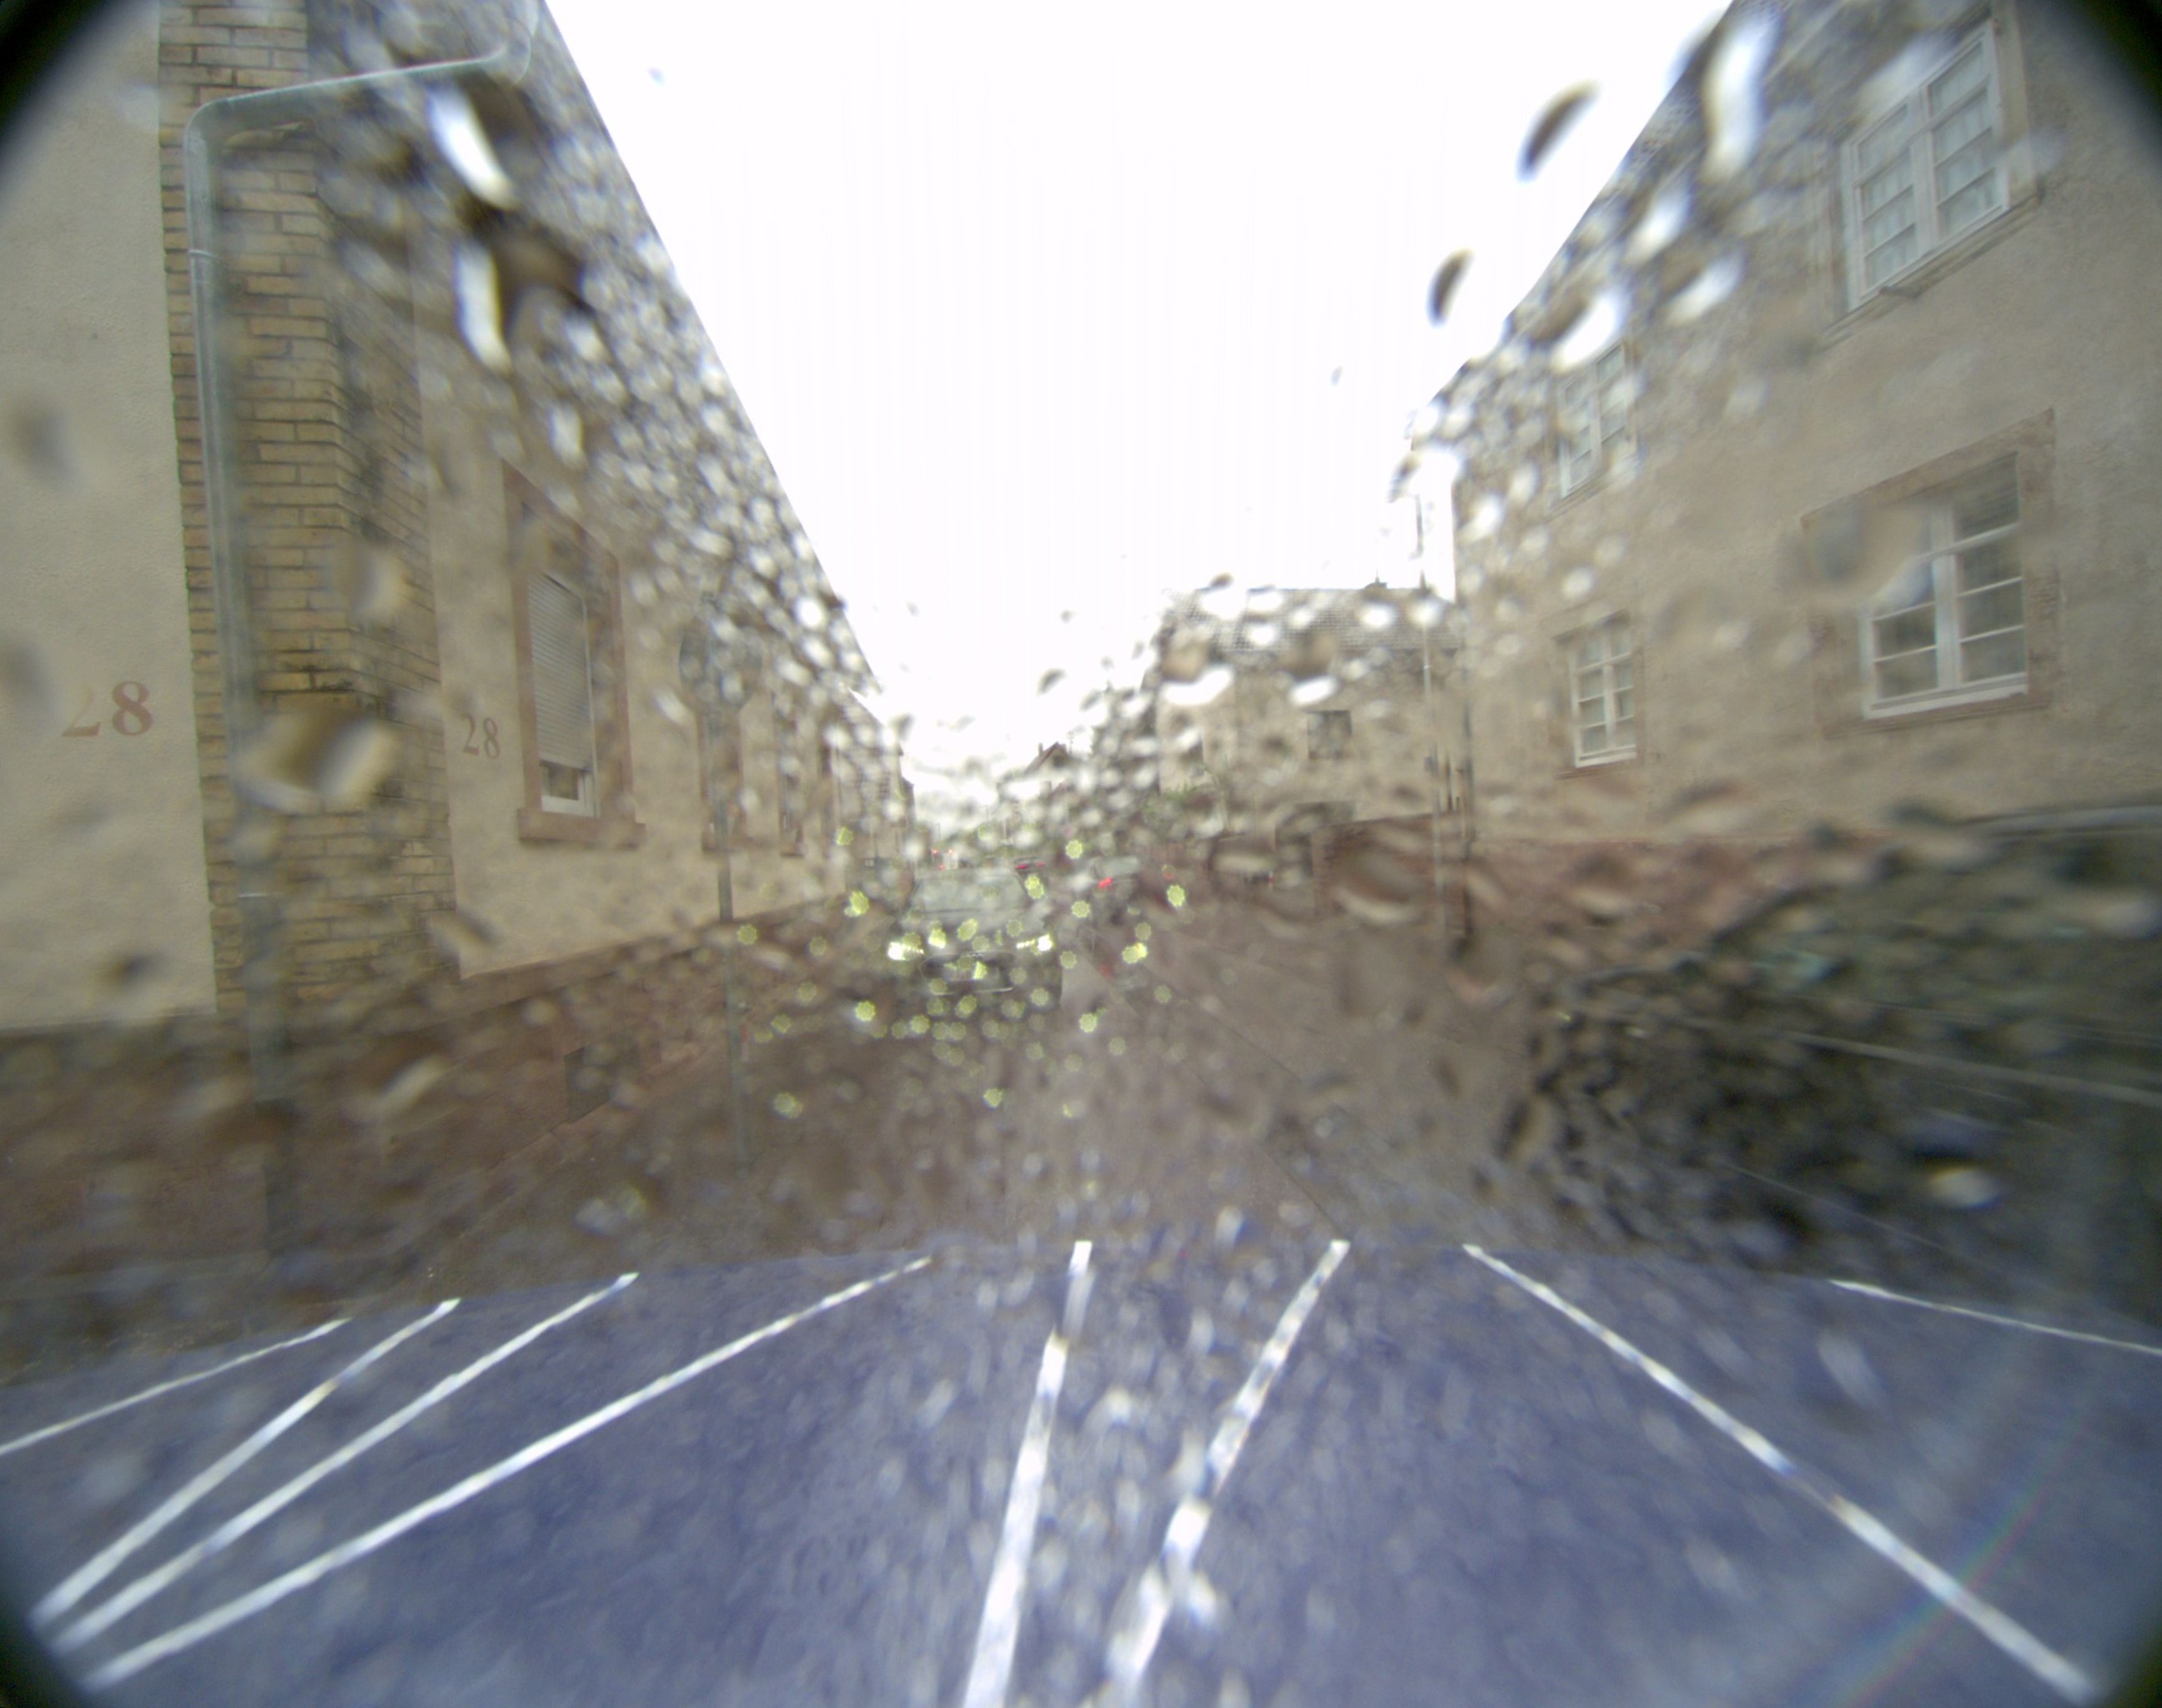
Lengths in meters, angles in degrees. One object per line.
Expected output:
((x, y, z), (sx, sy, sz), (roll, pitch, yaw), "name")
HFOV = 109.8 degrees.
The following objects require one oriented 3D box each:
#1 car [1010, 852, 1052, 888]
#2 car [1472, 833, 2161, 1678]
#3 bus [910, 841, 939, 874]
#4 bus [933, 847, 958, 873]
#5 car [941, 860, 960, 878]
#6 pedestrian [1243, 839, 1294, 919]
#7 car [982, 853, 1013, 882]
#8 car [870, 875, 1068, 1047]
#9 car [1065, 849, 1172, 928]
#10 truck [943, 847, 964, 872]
((-2.502, 0.739, 37.370), (1.627, 1.502, 3.790), (-6, 1, -8), "car")
((2.759, 0.738, 1.718), (1.609, 1.504, 3.686), (-4, 1, -4), "car")
((-16.626, 0.331, 80.747), (2.670, 3.213, 12.178), (-2, 1, -12), "bus")
((-18.163, 0.750, 101.403), (2.670, 3.213, 12.178), (-2, 1, -12), "bus")
((-15.830, 1.751, 91.924), (2.001, 2.002, 3.995), (-2, 1, -13), "car")
((3.786, 0.496, 15.381), (0.574, 1.529, 0.832), (-5, 1, -12), "pedestrian")
((-5.599, 0.860, 50.514), (1.786, 1.655, 4.422), (-5, 2, -8), "car")
((-1.331, 1.021, 8.985), (1.740, 1.363, 4.098), (-2, 0, -9), "car")
((0.735, 0.688, 17.707), (1.701, 1.500, 4.338), (-3, 1, -7), "car")
((-13.288, 0.557, 79.534), (2.000, 2.490, 5.645), (-2, 1, -8), "truck")
